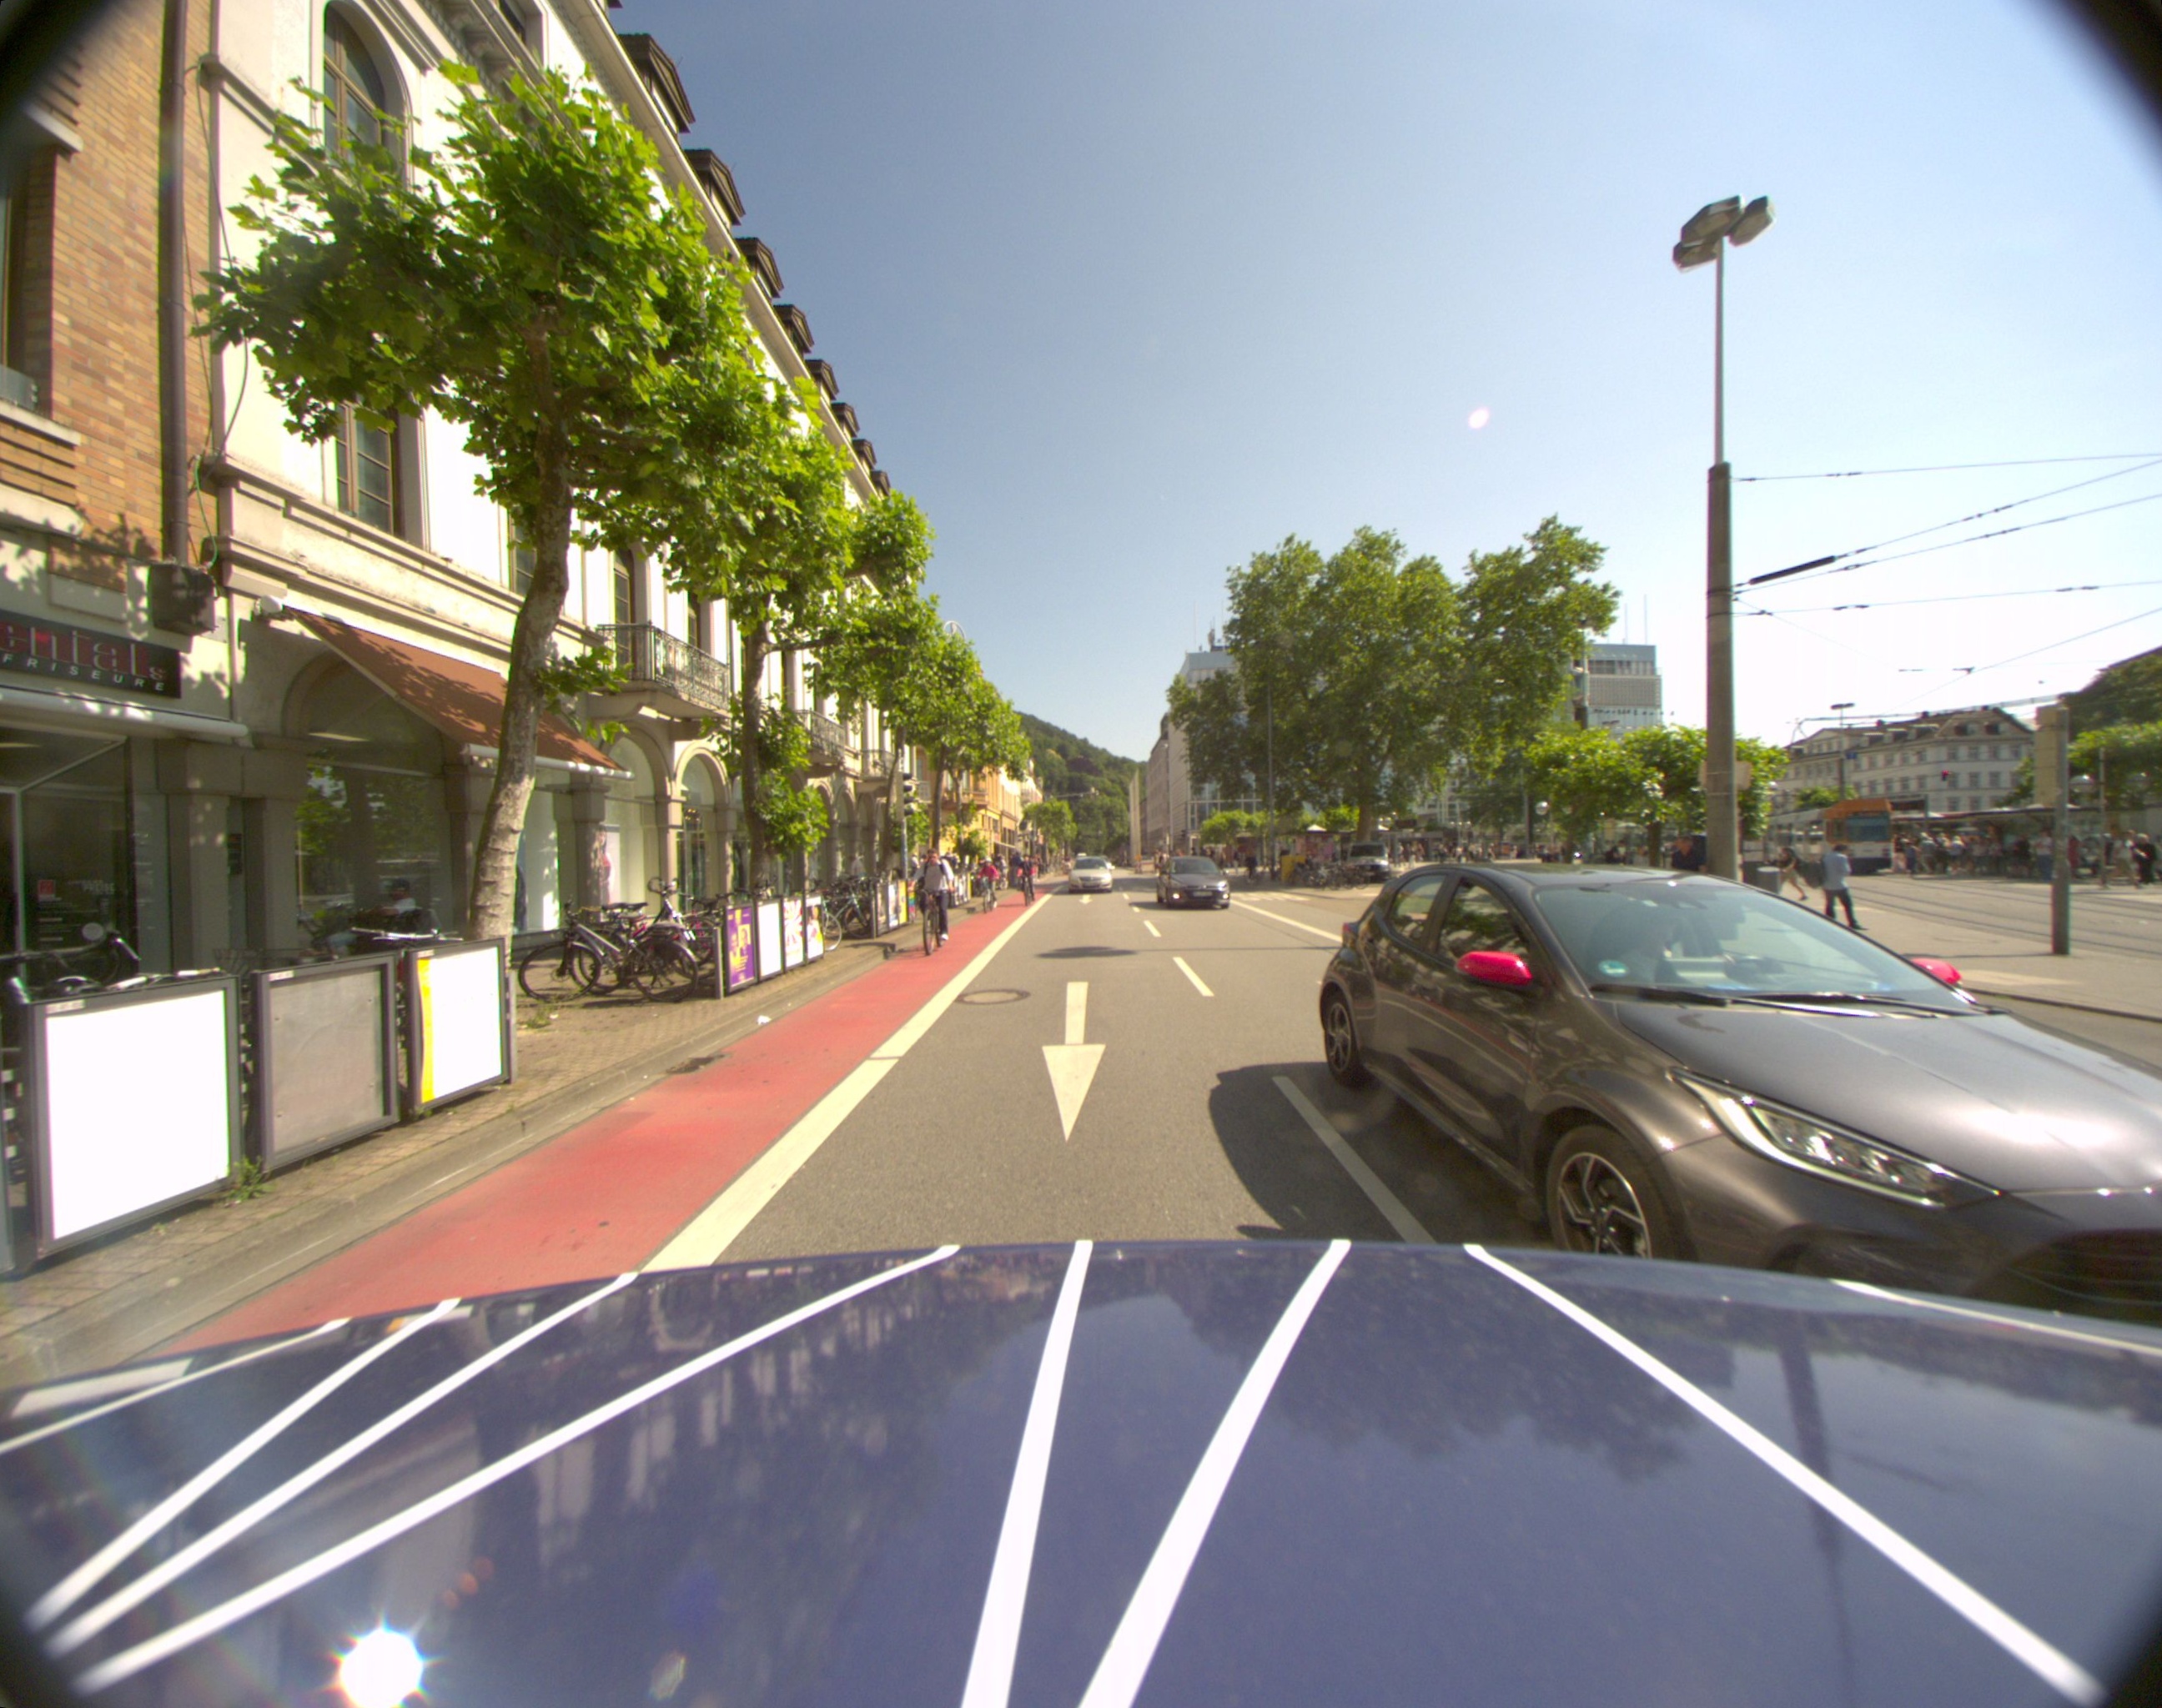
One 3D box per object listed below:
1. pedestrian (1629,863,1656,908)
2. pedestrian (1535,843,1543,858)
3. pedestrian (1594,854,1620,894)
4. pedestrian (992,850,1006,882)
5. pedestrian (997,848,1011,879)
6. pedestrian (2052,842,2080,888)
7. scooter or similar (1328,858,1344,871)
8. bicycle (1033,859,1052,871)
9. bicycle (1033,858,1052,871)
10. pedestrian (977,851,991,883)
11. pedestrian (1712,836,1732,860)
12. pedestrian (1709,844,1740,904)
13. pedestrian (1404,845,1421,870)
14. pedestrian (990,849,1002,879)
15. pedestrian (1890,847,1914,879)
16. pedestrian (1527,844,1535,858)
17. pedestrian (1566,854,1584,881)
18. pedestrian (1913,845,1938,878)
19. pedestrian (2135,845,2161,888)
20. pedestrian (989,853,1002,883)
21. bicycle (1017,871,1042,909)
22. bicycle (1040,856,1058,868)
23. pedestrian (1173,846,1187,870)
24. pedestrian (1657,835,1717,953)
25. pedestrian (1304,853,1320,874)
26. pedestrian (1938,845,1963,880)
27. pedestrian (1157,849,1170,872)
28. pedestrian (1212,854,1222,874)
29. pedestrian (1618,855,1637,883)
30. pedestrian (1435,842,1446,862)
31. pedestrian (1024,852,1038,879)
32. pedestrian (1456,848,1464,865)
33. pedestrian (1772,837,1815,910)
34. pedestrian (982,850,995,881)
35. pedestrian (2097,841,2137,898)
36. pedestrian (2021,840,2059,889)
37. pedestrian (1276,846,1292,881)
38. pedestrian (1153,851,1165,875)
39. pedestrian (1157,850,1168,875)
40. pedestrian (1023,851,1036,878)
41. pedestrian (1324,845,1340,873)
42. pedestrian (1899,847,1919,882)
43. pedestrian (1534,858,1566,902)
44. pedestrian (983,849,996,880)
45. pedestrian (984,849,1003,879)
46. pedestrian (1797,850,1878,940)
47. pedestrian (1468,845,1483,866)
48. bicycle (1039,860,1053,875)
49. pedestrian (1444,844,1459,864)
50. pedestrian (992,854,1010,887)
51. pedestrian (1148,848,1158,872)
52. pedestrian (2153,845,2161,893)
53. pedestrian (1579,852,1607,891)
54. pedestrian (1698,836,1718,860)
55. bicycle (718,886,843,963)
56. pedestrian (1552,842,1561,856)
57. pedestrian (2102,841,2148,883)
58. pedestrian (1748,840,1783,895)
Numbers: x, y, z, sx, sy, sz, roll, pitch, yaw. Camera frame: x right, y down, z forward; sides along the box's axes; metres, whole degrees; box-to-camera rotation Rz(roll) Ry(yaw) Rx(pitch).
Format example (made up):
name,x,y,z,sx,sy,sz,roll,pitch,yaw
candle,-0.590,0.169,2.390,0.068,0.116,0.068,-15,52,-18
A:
name,x,y,z,sx,sy,sz,roll,pitch,yaw
pedestrian,15.640,0.856,21.166,0.577,1.226,0.555,0,1,35
pedestrian,47.613,-0.383,78.968,0.554,1.464,0.759,-2,1,37
pedestrian,19.653,0.756,28.386,0.623,1.457,0.682,1,0,21
pedestrian,-4.381,0.621,40.724,0.578,1.675,0.775,-3,1,-2
pedestrian,-4.777,0.585,47.170,0.686,1.847,0.622,-3,1,-2
pedestrian,36.805,0.405,28.393,0.559,1.708,0.465,1,0,-22
scooter or similar,13.263,0.544,39.523,0.579,0.643,0.787,-2,1,34
bicycle,-3.670,1.041,71.949,1.757,1.140,0.592,-1,1,-1
bicycle,-3.689,1.018,72.795,1.757,1.140,0.592,-1,1,-1
pedestrian,-5.289,0.698,41.414,0.578,1.675,0.622,-3,1,-2
pedestrian,40.297,-0.381,47.783,0.757,1.464,0.555,-3,1,0
pedestrian,19.250,0.590,22.738,0.623,1.735,0.682,1,0,35
pedestrian,23.450,0.261,53.708,0.752,1.737,0.782,-3,1,-9
pedestrian,-5.136,0.580,45.911,0.578,1.792,0.697,-3,1,-2
pedestrian,39.426,0.427,36.496,0.577,1.540,0.682,1,0,27
pedestrian,47.664,-0.353,80.434,0.554,1.464,0.759,-2,1,37
pedestrian,24.242,0.658,37.297,0.497,1.246,0.484,-3,1,-1
pedestrian,39.114,0.348,35.192,0.681,1.540,0.577,1,0,-26
pedestrian,36.617,0.434,25.813,0.624,1.457,0.681,1,0,6
pedestrian,-4.640,0.762,41.451,0.578,1.574,0.622,-3,1,-2
bicycle,-1.630,1.113,24.096,0.667,1.086,1.897,-3,0,-2
bicycle,-3.216,0.778,76.141,1.757,1.140,0.592,-1,1,-1
pedestrian,7.360,0.328,56.669,0.751,1.737,0.733,-3,1,-9
pedestrian,10.698,0.682,13.410,0.897,1.996,0.678,1,1,-43
pedestrian,13.598,0.548,44.692,0.671,1.234,0.615,-3,1,-1
pedestrian,39.697,0.387,34.678,0.681,1.540,0.577,1,0,-26
pedestrian,6.295,0.493,57.986,0.876,1.737,0.733,-3,1,-1
pedestrian,11.483,0.811,64.161,0.732,1.660,0.640,-3,1,14
pedestrian,24.124,0.670,33.542,0.544,1.195,0.527,1,0,23
pedestrian,33.027,-0.177,69.777,0.750,1.737,0.784,-2,1,39
pedestrian,-3.143,0.730,47.495,0.579,1.675,0.726,-3,1,-22
pedestrian,34.808,0.234,69.706,0.464,1.464,0.410,-3,1,-1
pedestrian,19.952,0.548,21.270,0.693,1.996,0.564,-1,1,-8
pedestrian,-5.184,0.640,42.629,0.578,1.714,0.622,-3,1,-2
pedestrian,31.866,0.469,23.375,0.561,1.720,0.588,1,0,-22
pedestrian,35.135,0.379,27.842,0.626,1.784,0.679,1,0,-22
pedestrian,10.287,0.496,38.570,0.516,1.732,0.518,-3,1,-13
pedestrian,5.619,0.645,54.802,0.639,1.737,0.733,-3,1,-1
pedestrian,5.544,0.574,51.881,0.575,1.704,0.652,-3,1,-1
pedestrian,-3.313,0.682,48.769,0.606,1.726,0.647,-2,2,-22
pedestrian,13.346,0.245,40.401,0.579,1.452,0.787,-2,1,34
pedestrian,36.619,0.454,33.602,0.477,1.540,0.451,1,0,-26
pedestrian,15.789,0.870,25.593,0.624,1.457,0.680,1,0,1
pedestrian,-5.207,0.604,43.343,0.578,1.729,0.622,-3,1,-2
pedestrian,-5.524,0.635,47.941,0.621,1.835,0.857,-2,1,39
pedestrian,14.313,0.761,14.392,0.895,1.649,0.680,-1,1,-9
pedestrian,34.057,0.103,65.588,0.752,1.737,0.782,-3,1,-9
bicycle,-2.780,1.063,60.463,0.737,1.086,1.895,2,0,-13
pedestrian,32.083,0.004,65.806,0.752,1.737,0.782,-3,1,-9
pedestrian,-4.160,0.850,39.431,0.620,1.675,0.579,-2,1,42
pedestrian,5.438,0.455,57.300,0.639,1.737,0.733,-3,1,-1
pedestrian,34.143,0.477,23.691,0.626,1.492,0.679,1,0,-22
pedestrian,19.618,0.684,29.114,0.727,1.457,0.682,1,0,21
pedestrian,40.425,-0.390,48.999,0.757,1.464,0.555,-3,1,0
bicycle,-4.767,1.106,12.112,1.757,1.140,0.483,-1,1,-1
pedestrian,52.810,-0.564,84.442,0.756,1.464,0.556,-2,1,28
pedestrian,36.657,0.290,26.681,0.624,1.457,0.681,1,0,6
pedestrian,22.857,0.457,25.386,0.577,1.805,0.605,1,0,0
